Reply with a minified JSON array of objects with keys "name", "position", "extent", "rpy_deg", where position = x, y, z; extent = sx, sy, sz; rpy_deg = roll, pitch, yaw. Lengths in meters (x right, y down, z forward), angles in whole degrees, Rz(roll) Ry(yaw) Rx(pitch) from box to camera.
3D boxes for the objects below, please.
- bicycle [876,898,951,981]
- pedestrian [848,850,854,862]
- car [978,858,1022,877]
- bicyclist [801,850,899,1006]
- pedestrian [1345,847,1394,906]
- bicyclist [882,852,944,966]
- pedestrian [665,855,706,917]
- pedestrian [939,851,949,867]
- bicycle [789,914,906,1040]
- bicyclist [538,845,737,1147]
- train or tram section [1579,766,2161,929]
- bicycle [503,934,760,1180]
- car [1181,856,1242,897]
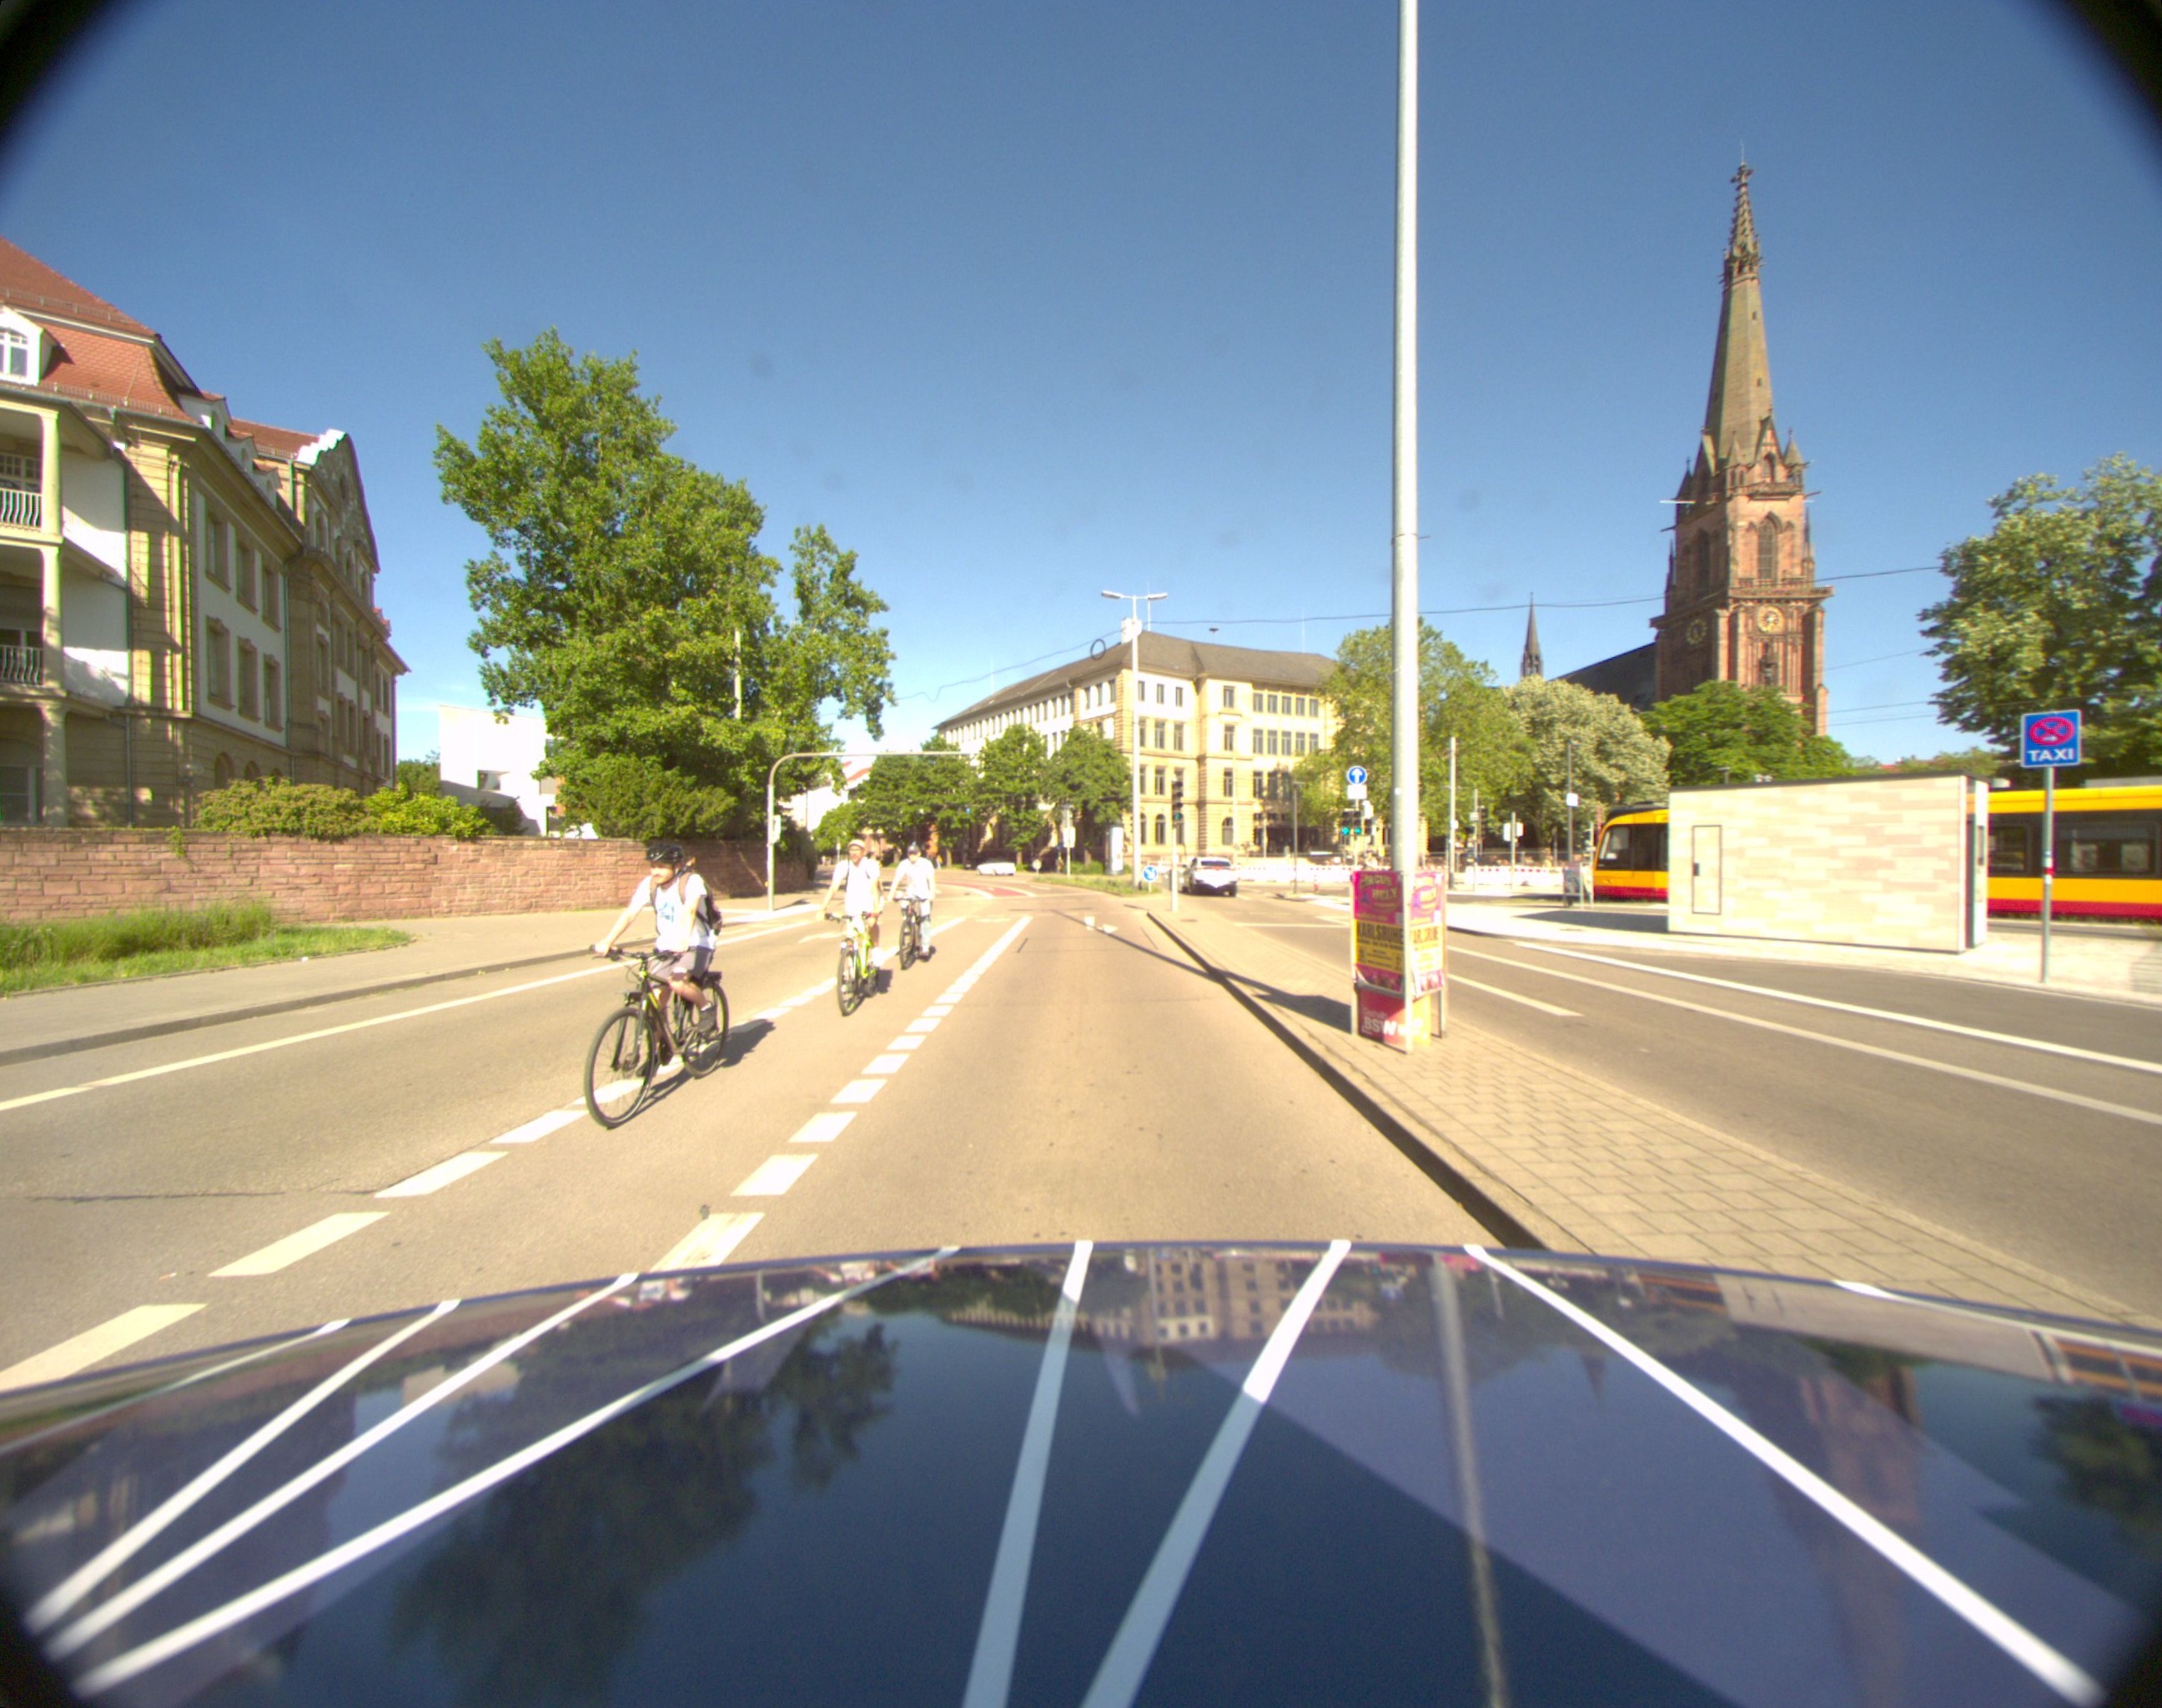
[{"name":"bicycle","position":[-2.526,1.262,11.665],"extent":[0.749,1.044,1.903],"rpy_deg":[0,0,-1]},{"name":"pedestrian","position":[-36.054,0.317,119.034],"extent":[0.758,1.801,0.979],"rpy_deg":[-2,-3,-18]},{"name":"car","position":[-6.860,1.089,64.027],"extent":[1.853,1.477,4.154],"rpy_deg":[-1,0,-35]},{"name":"bicyclist","position":[-2.506,0.762,8.364],"extent":[0.676,1.574,1.081],"rpy_deg":[-2,1,0]},{"name":"pedestrian","position":[9.263,0.707,24.430],"extent":[1.229,1.845,0.827],"rpy_deg":[0,1,-5]},{"name":"bicyclist","position":[-2.534,0.806,11.547],"extent":[0.742,1.664,0.865],"rpy_deg":[0,1,-1]},{"name":"pedestrian","position":[-12.049,0.959,23.148],"extent":[0.963,1.839,0.729],"rpy_deg":[1,1,-40]},{"name":"pedestrian","position":[-15.842,0.595,87.608],"extent":[0.759,1.802,0.978],"rpy_deg":[-1,1,-40]},{"name":"bicycle","position":[-2.489,1.274,8.330],"extent":[0.673,1.044,1.844],"rpy_deg":[-2,0,-1]},{"name":"bicyclist","position":[-2.849,0.844,4.991],"extent":[0.678,1.775,0.939],"rpy_deg":[-2,1,-1]},{"name":"train or tram section","position":[21.921,-0.154,21.900],"extent":[2.806,3.580,12.504],"rpy_deg":[-1,0,-35]},{"name":"bicycle","position":[-2.832,1.200,5.052],"extent":[0.616,1.131,1.826],"rpy_deg":[-1,0,-1]},{"name":"car","position":[5.328,0.880,31.592],"extent":[1.846,1.543,4.336],"rpy_deg":[1,0,1]}]
